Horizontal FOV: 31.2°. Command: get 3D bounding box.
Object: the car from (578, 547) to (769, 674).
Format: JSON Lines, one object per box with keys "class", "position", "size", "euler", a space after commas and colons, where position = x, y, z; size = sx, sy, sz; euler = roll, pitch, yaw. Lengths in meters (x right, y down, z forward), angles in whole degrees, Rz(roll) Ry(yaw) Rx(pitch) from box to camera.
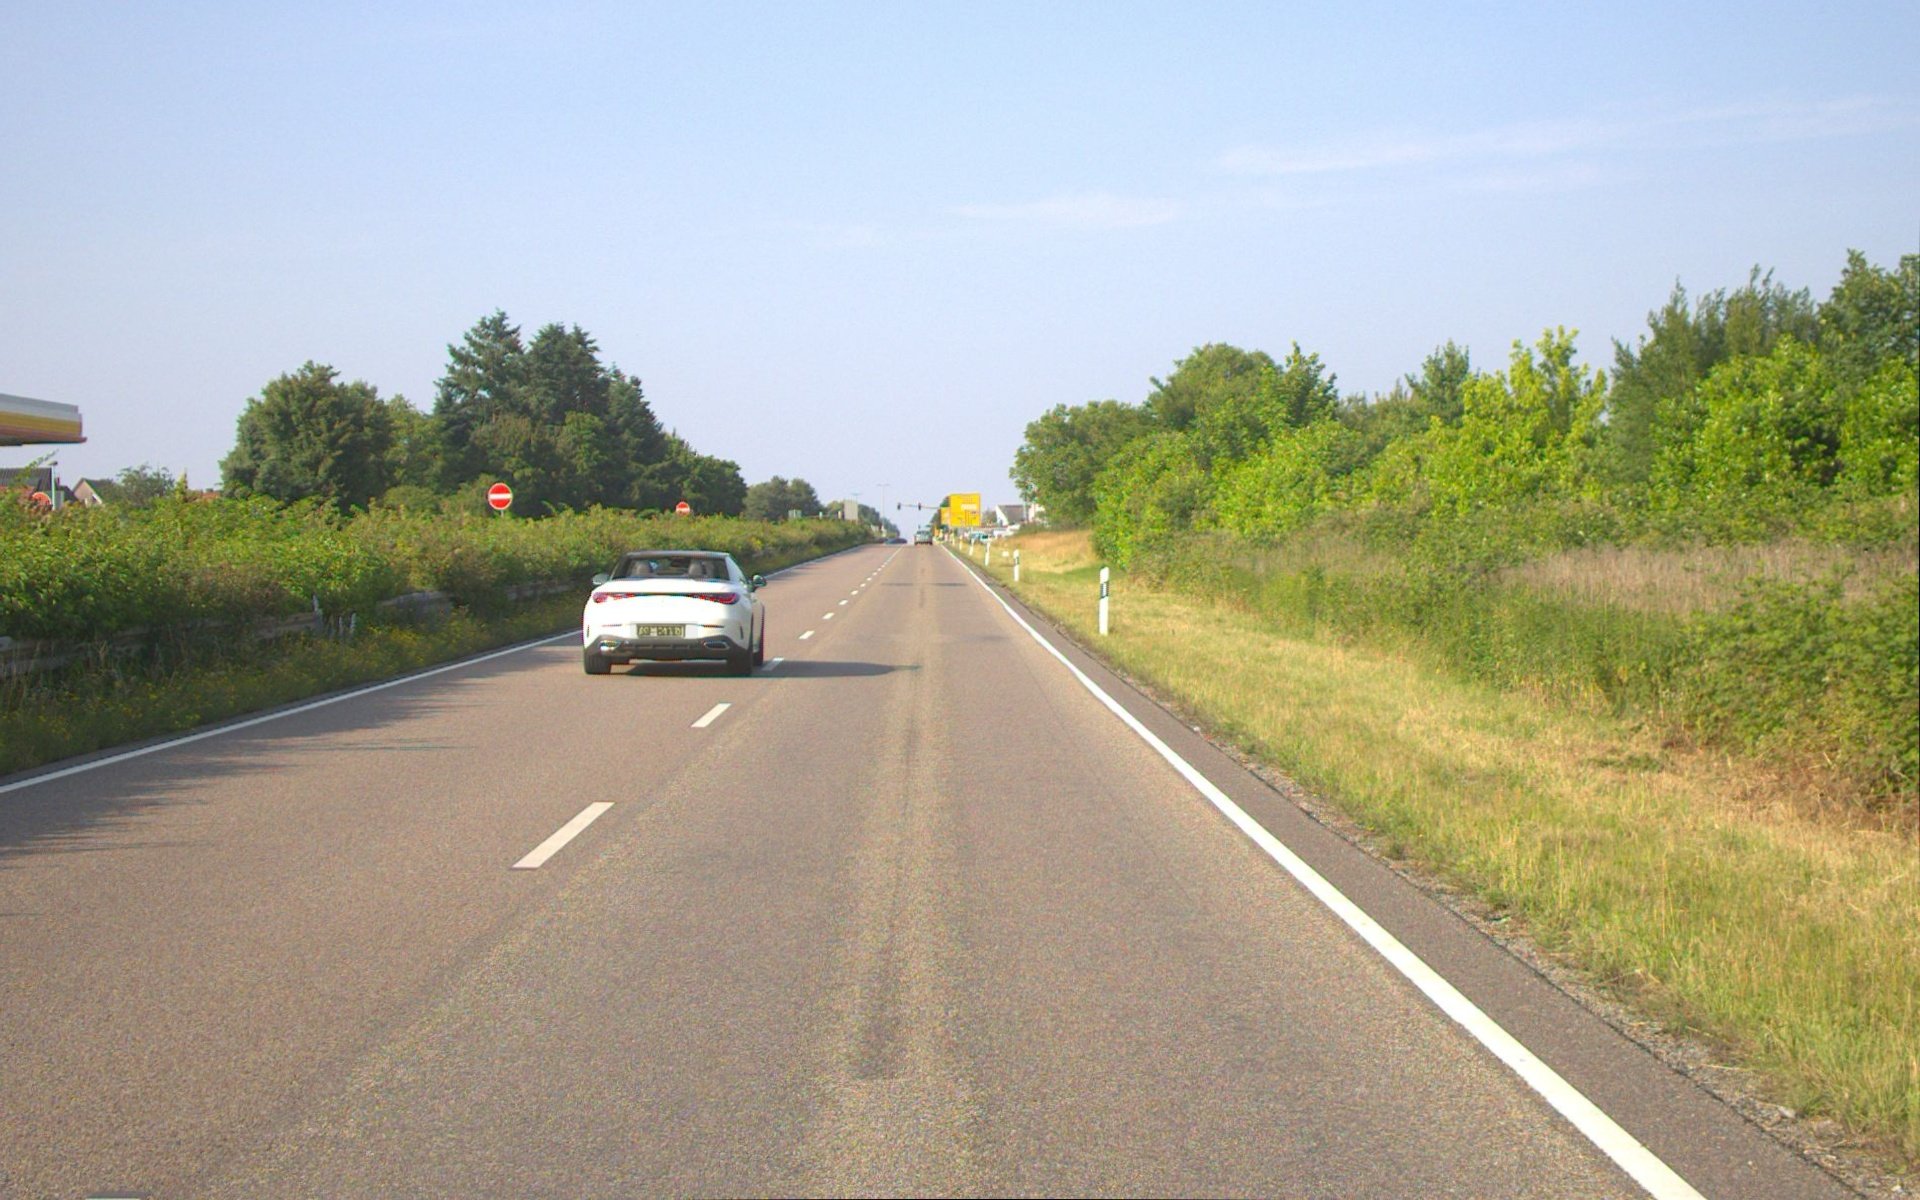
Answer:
{"class": "car", "position": [-3.208, 0.075, 39.369], "size": [1.771, 1.333, 4.950], "euler": [1, 1, 0]}
